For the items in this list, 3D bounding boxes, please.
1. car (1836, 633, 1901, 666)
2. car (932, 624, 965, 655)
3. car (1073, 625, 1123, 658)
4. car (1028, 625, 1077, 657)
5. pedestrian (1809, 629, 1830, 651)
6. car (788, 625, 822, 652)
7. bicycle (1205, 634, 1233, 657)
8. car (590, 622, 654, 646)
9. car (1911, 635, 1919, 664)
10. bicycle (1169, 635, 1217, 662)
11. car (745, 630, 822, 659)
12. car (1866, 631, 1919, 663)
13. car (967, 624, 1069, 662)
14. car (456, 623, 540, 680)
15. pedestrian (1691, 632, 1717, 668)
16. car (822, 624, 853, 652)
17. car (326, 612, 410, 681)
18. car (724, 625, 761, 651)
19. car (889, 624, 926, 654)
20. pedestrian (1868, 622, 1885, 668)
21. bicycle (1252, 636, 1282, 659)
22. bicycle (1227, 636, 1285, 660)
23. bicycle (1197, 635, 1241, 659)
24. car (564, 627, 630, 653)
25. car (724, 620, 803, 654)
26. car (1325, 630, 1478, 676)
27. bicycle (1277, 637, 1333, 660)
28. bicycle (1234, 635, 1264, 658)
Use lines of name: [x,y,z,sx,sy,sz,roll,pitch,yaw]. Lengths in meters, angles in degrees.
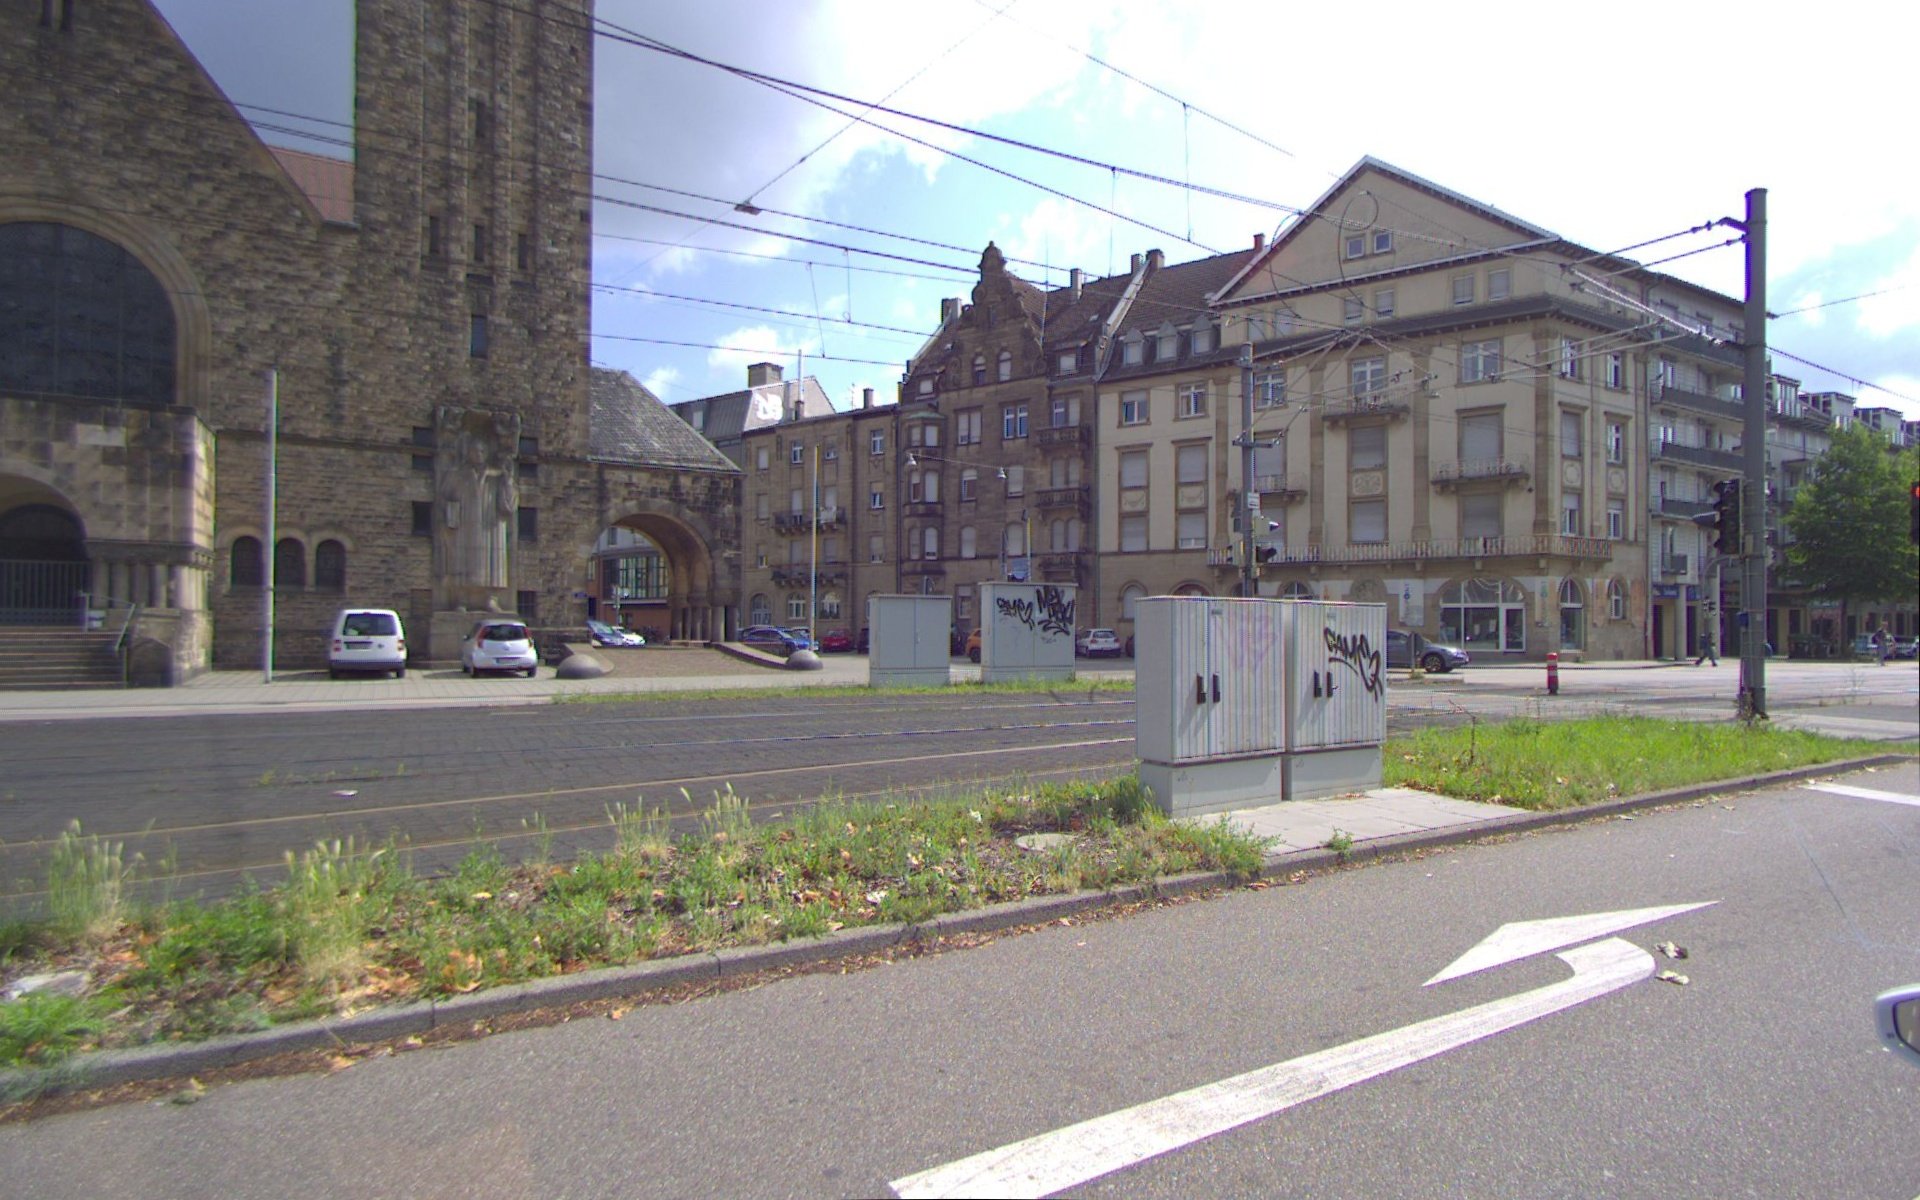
car: [58.179,3.124,64.336,3.953,2.040,1.984,1,-2,-30]
car: [-0.632,2.271,58.350,1.850,1.782,4.001,0,-2,1]
car: [7.259,2.162,53.055,1.768,1.661,3.998,0,-2,-5]
car: [4.972,2.184,54.256,1.962,1.695,3.998,0,-2,-5]
pedestrian: [50.269,2.337,58.744,0.695,1.227,0.750,1,-1,-30]
car: [-10.028,2.468,65.048,1.686,1.706,4.000,0,-2,-2]
bicycle: [13.021,2.269,50.381,0.729,1.067,2.360,-1,-2,31]
car: [-20.493,2.043,60.879,4.122,1.449,1.532,-1,-2,34]
car: [69.359,3.470,71.050,3.953,2.040,1.984,1,-2,-30]
bicycle: [11.514,2.370,49.759,0.981,1.270,3.313,0,-2,-13]
car: [-9.124,2.278,51.865,3.933,1.449,1.532,-1,-2,34]
car: [62.206,3.111,66.624,3.953,2.040,1.984,1,-2,-30]
car: [2.503,1.845,43.830,4.258,1.567,1.625,-1,-2,37]
car: [-13.290,1.427,28.813,1.833,1.522,3.249,1,-2,-31]
pedestrian: [33.781,2.245,45.612,0.846,1.617,0.693,-1,-1,27]
car: [-7.709,2.395,63.387,1.617,1.718,3.859,0,-2,-2]
car: [-16.454,1.240,27.835,1.874,1.771,3.849,1,-2,-32]
car: [-14.741,2.561,68.282,1.707,1.693,4.038,0,-2,-2]
car: [-3.125,2.305,60.217,1.960,1.760,4.001,0,-2,1]
pedestrian: [40.356,1.970,44.233,0.415,2.040,0.474,1,-2,-35]
bicycle: [14.879,2.280,48.660,0.792,1.067,2.561,-1,-2,31]
bicycle: [13.922,2.248,47.222,2.522,1.067,0.680,-1,-2,33]
bicycle: [12.227,2.222,47.396,1.939,1.129,0.487,-1,-1,24]
car: [-20.745,2.255,57.374,3.719,1.449,1.709,-1,-2,34]
car: [-11.932,2.232,60.977,4.727,2.040,1.994,-1,-2,35]
car: [14.916,1.736,34.044,4.498,1.455,1.700,-1,-2,37]
bicycle: [16.348,2.282,47.572,2.525,1.067,0.803,1,-1,-18]
bicycle: [14.163,2.273,49.113,0.792,1.067,2.561,-1,-2,31]
